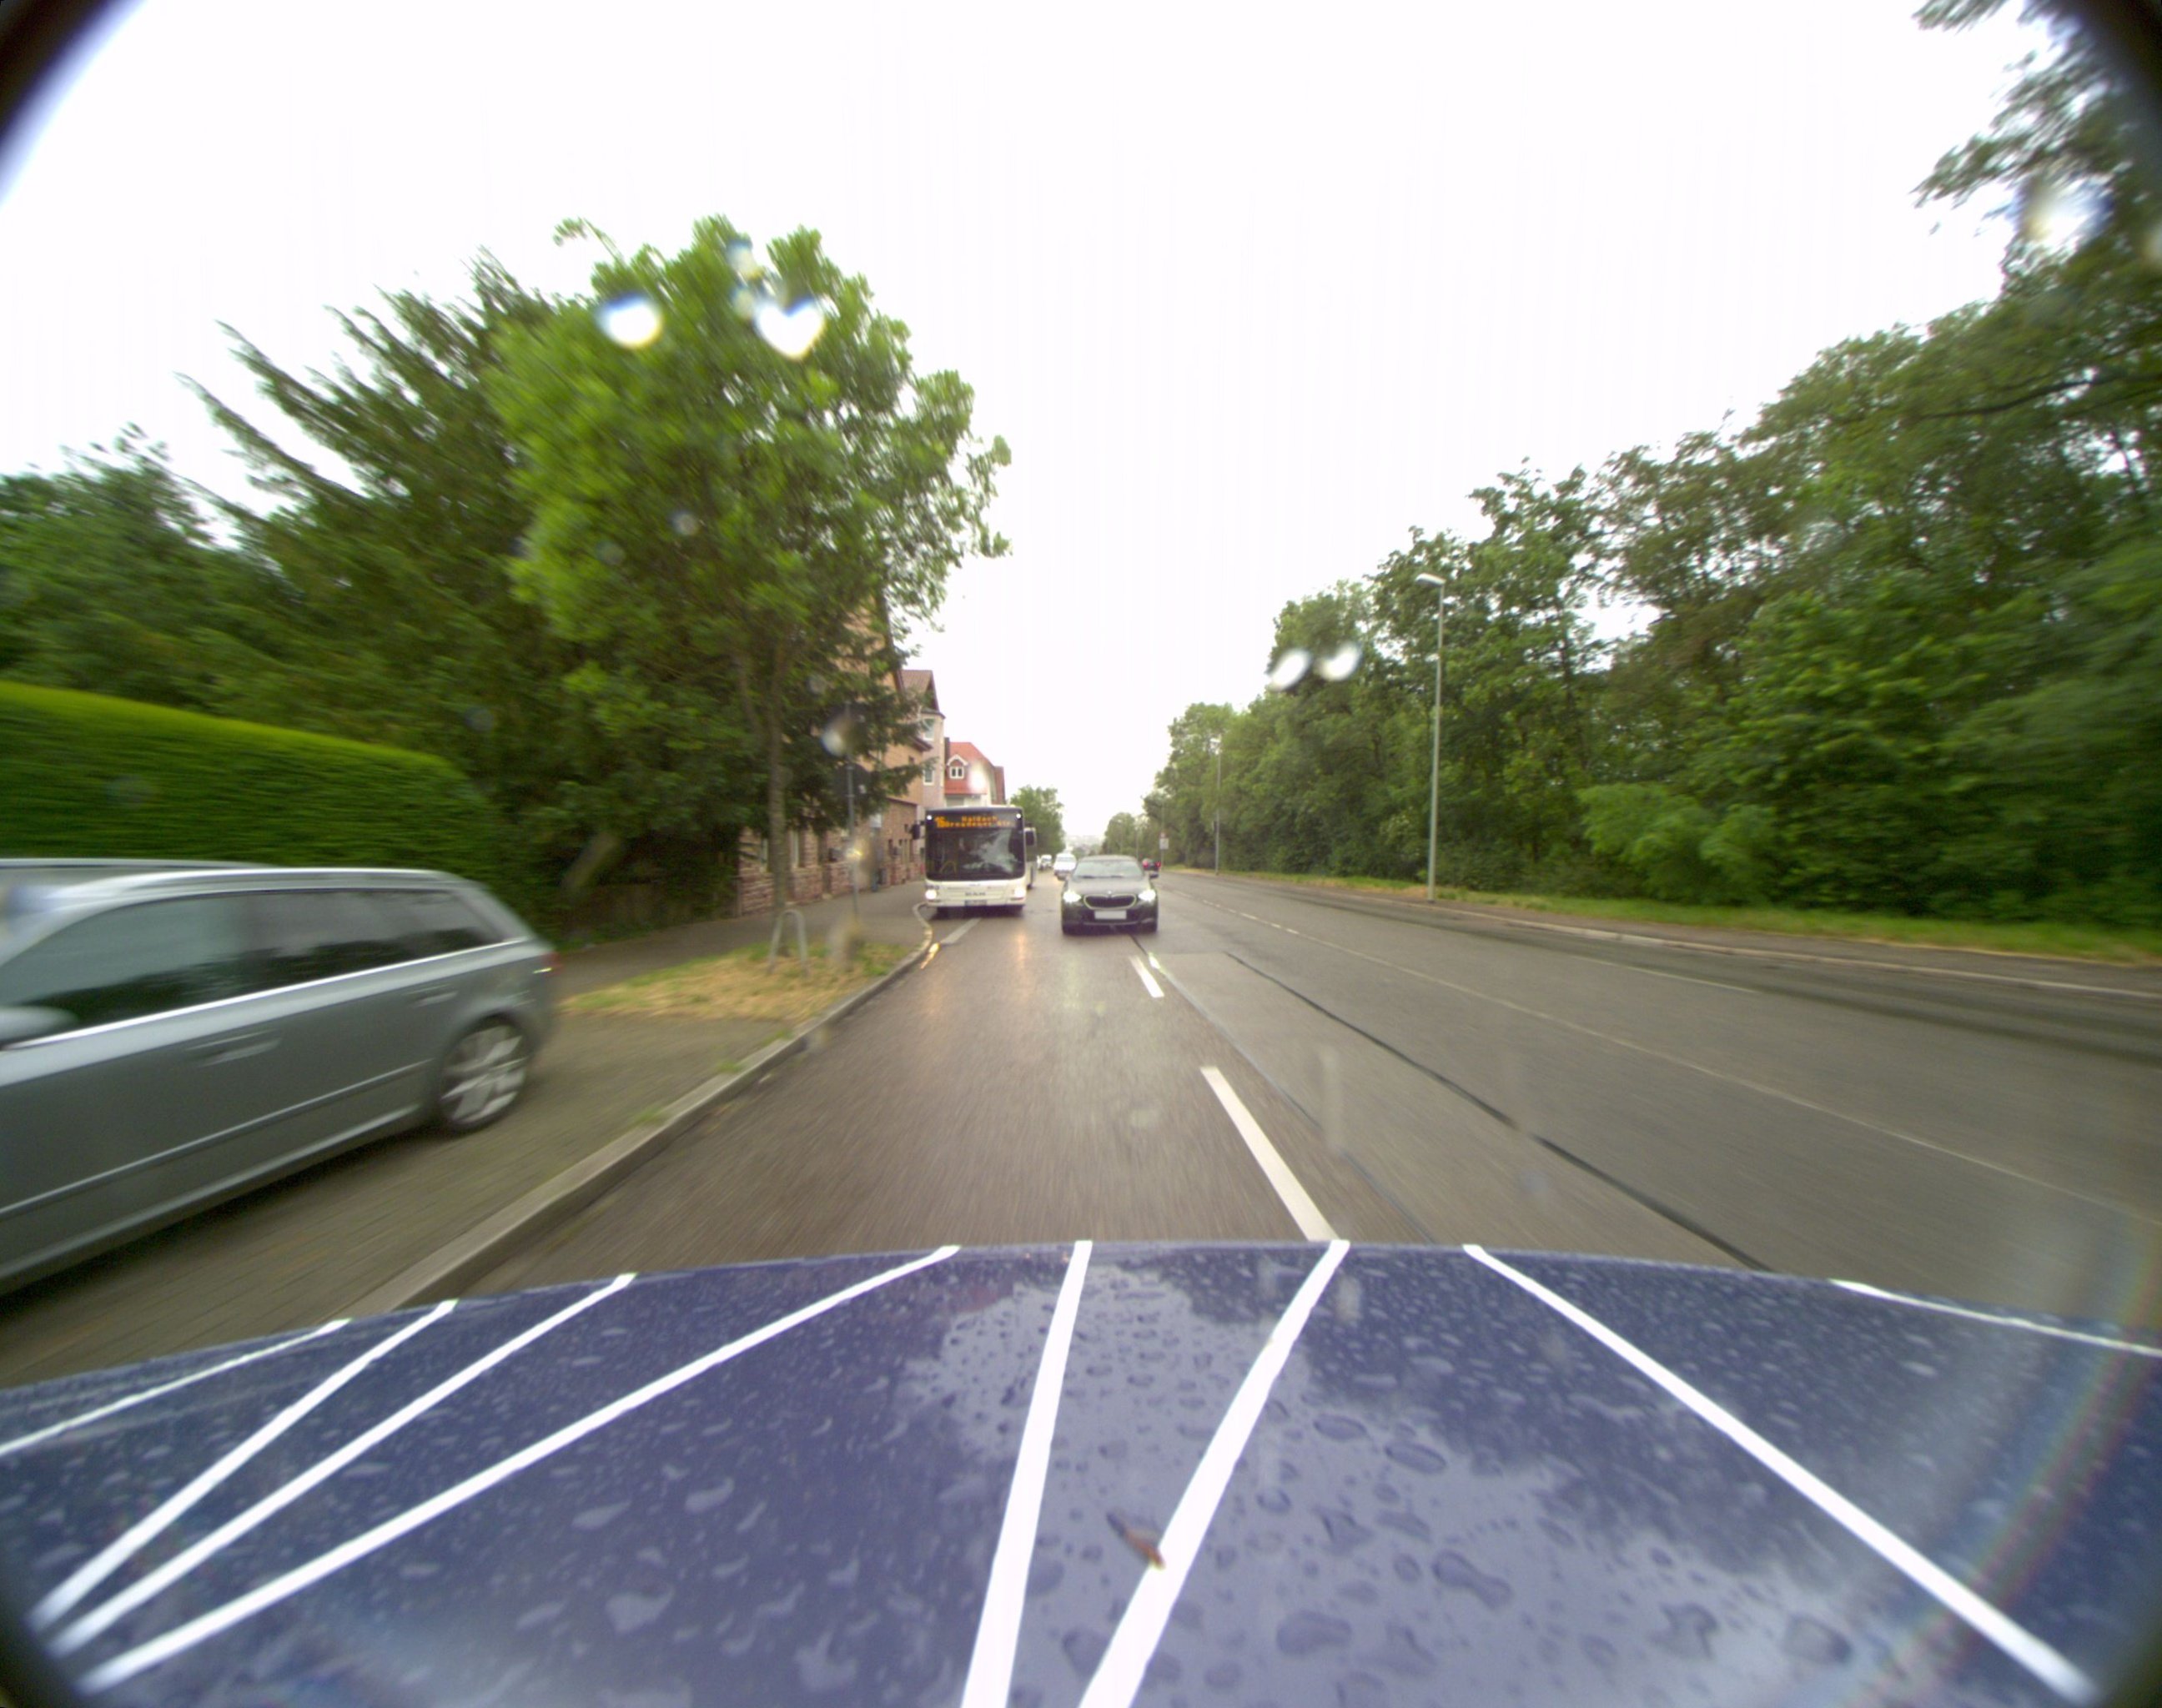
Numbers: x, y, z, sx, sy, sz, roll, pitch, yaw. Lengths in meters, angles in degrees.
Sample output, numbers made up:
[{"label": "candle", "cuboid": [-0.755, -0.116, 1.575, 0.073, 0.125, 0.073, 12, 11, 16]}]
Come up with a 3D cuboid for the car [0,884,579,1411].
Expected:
[{"label": "car", "cuboid": [-3.970, 0.900, 2.500, 1.692, 1.381, 4.499, 2, 0, -1]}]

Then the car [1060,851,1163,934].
[{"label": "car", "cuboid": [0.569, 0.698, 16.245, 1.855, 1.461, 4.482, -2, 1, 0]}]

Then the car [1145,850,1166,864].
[{"label": "car", "cuboid": [8.210, 0.327, 84.062, 1.749, 1.423, 4.387, 2, 0, -2]}]

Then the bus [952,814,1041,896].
[{"label": "bus", "cuboid": [-3.316, 0.010, 31.939, 2.561, 2.942, 8.557, -1, 0, 1]}]

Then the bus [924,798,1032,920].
[{"label": "bus", "cuboid": [-2.966, 0.077, 23.209, 2.564, 2.942, 9.444, -1, 0, -6]}]
